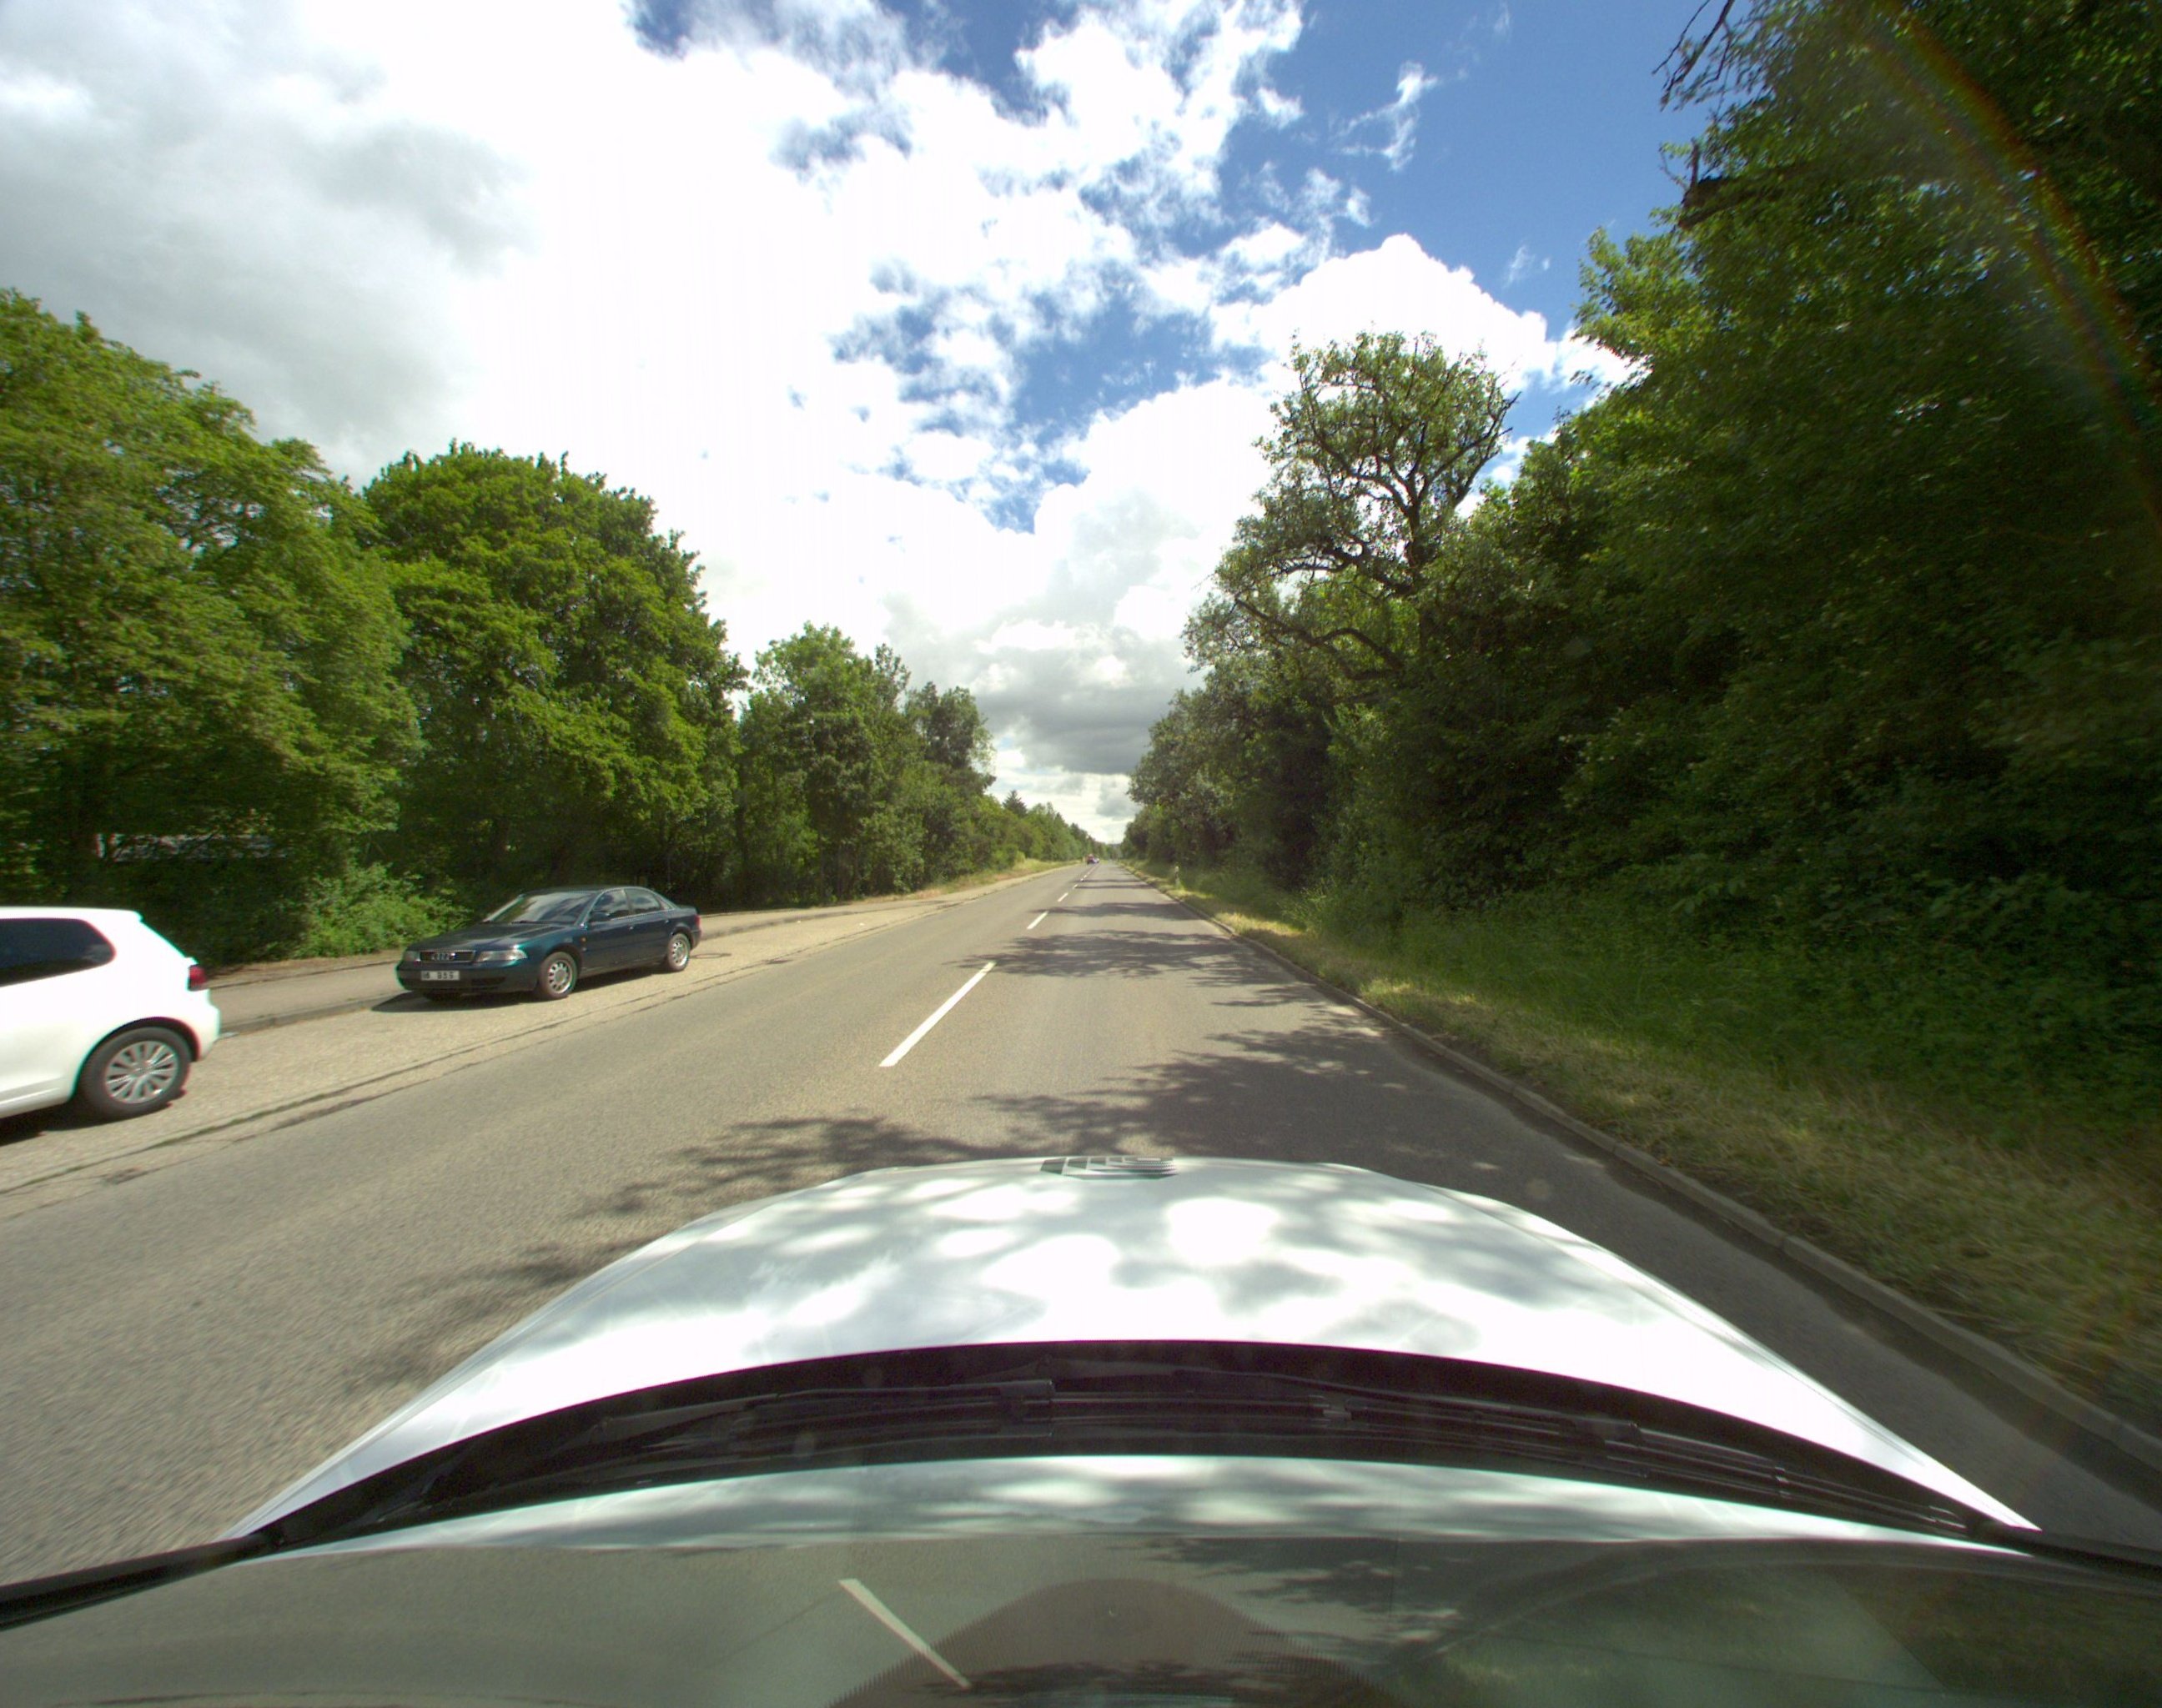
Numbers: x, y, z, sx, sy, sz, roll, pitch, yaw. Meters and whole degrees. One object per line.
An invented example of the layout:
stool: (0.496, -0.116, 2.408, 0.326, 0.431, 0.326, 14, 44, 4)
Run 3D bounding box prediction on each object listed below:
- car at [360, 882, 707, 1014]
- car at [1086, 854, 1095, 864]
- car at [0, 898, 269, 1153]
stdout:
car: (-7.317, 1.155, 11.544, 1.760, 1.408, 4.270, 0, -1, 5)
car: (2.359, 1.288, 208.358, 1.962, 2.550, 4.726, -4, -1, 1)
car: (-7.397, 1.063, 4.372, 1.762, 1.470, 4.246, 0, -1, 0)
